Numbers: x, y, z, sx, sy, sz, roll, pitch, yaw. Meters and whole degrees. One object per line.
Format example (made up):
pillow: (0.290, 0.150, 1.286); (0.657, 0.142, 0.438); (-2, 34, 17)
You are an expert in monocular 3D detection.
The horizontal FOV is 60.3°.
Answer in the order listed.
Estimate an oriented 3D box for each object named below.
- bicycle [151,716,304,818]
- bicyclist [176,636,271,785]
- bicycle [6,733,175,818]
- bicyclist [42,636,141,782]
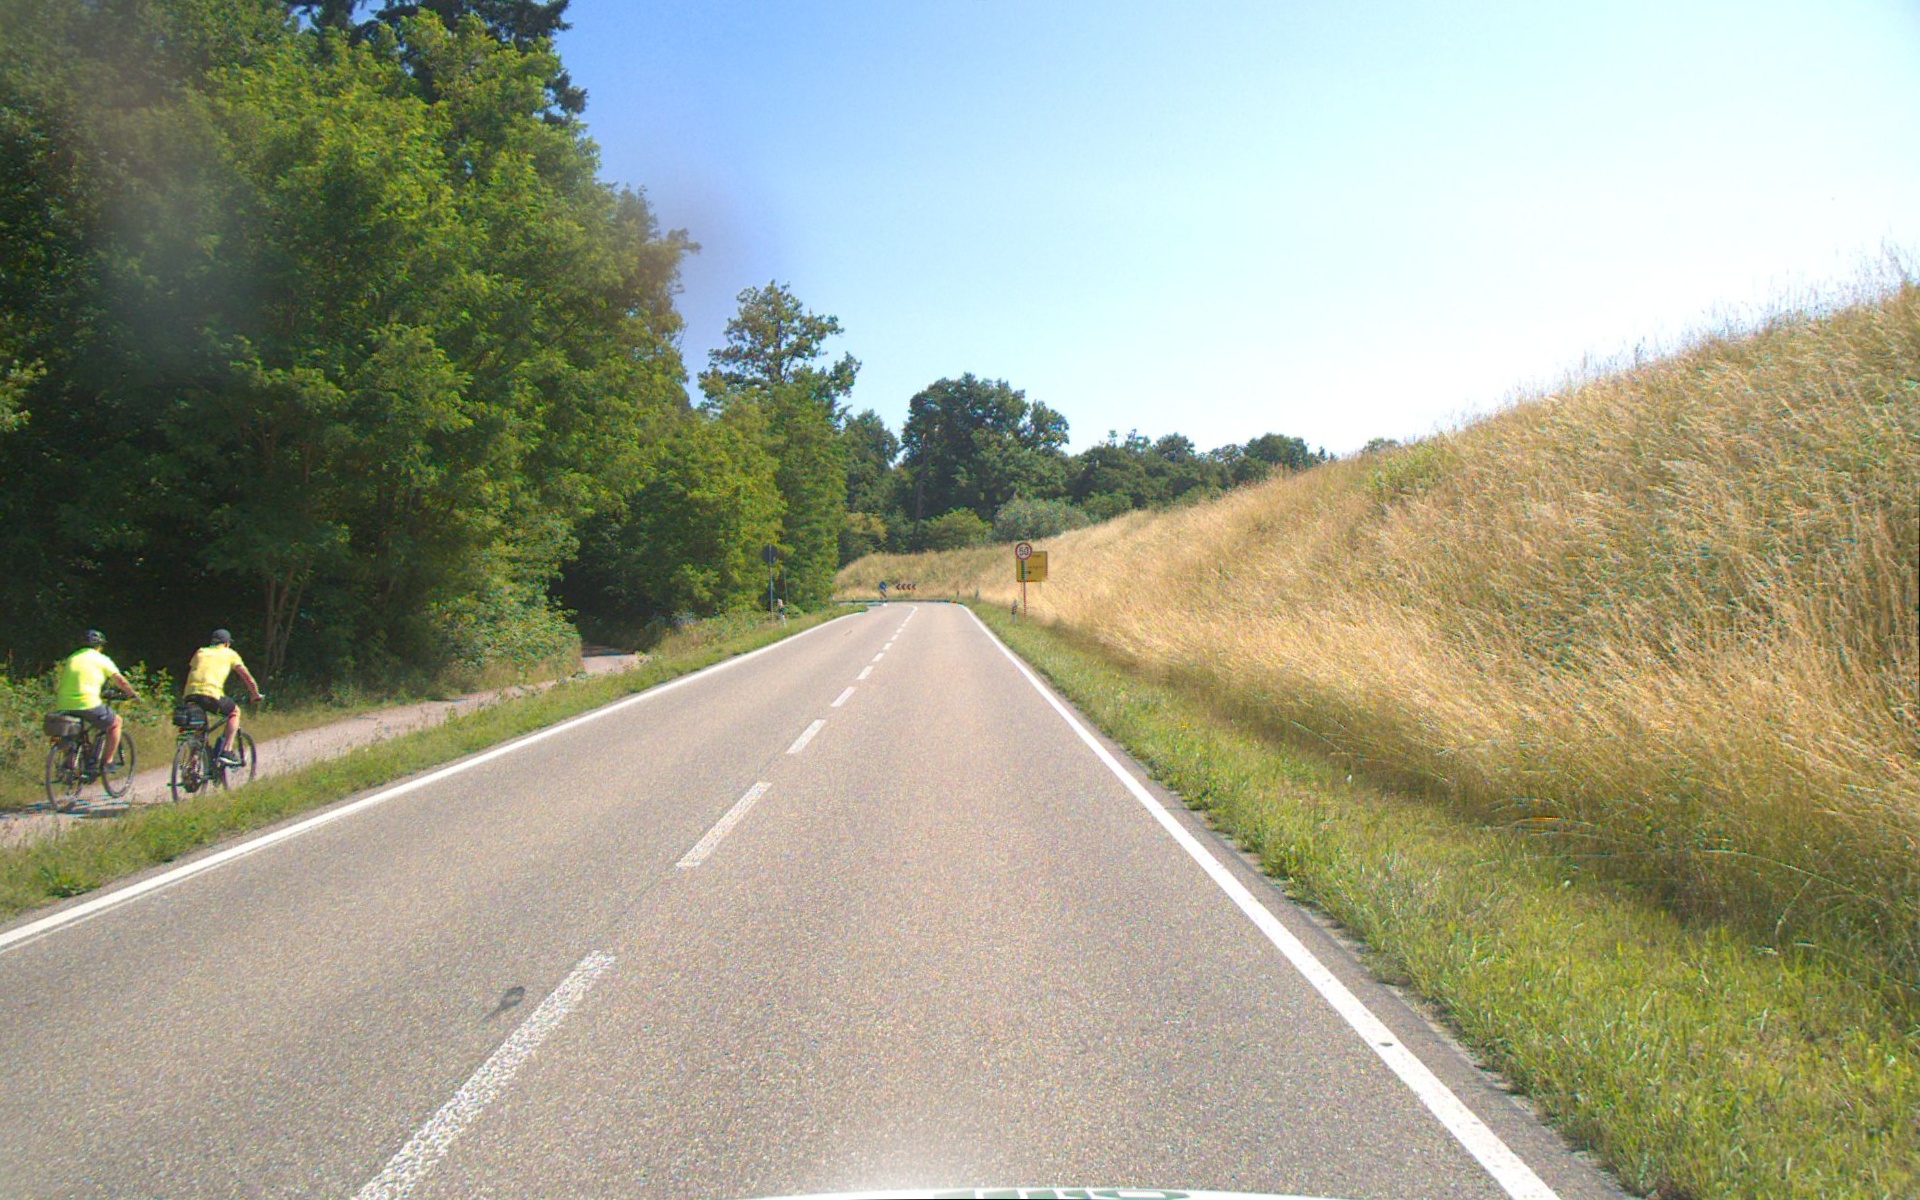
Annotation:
bicycle: (-7.521, 1.695, 17.091); (0.627, 0.802, 2.136); (-3, 0, -1)
bicyclist: (-7.520, 1.113, 16.917); (0.593, 1.440, 0.702); (-3, 0, -1)
bicycle: (-8.843, 1.772, 16.922); (0.606, 0.693, 2.136); (1, -2, -1)
bicyclist: (-8.831, 1.093, 16.831); (0.593, 1.440, 0.702); (1, -2, -1)
